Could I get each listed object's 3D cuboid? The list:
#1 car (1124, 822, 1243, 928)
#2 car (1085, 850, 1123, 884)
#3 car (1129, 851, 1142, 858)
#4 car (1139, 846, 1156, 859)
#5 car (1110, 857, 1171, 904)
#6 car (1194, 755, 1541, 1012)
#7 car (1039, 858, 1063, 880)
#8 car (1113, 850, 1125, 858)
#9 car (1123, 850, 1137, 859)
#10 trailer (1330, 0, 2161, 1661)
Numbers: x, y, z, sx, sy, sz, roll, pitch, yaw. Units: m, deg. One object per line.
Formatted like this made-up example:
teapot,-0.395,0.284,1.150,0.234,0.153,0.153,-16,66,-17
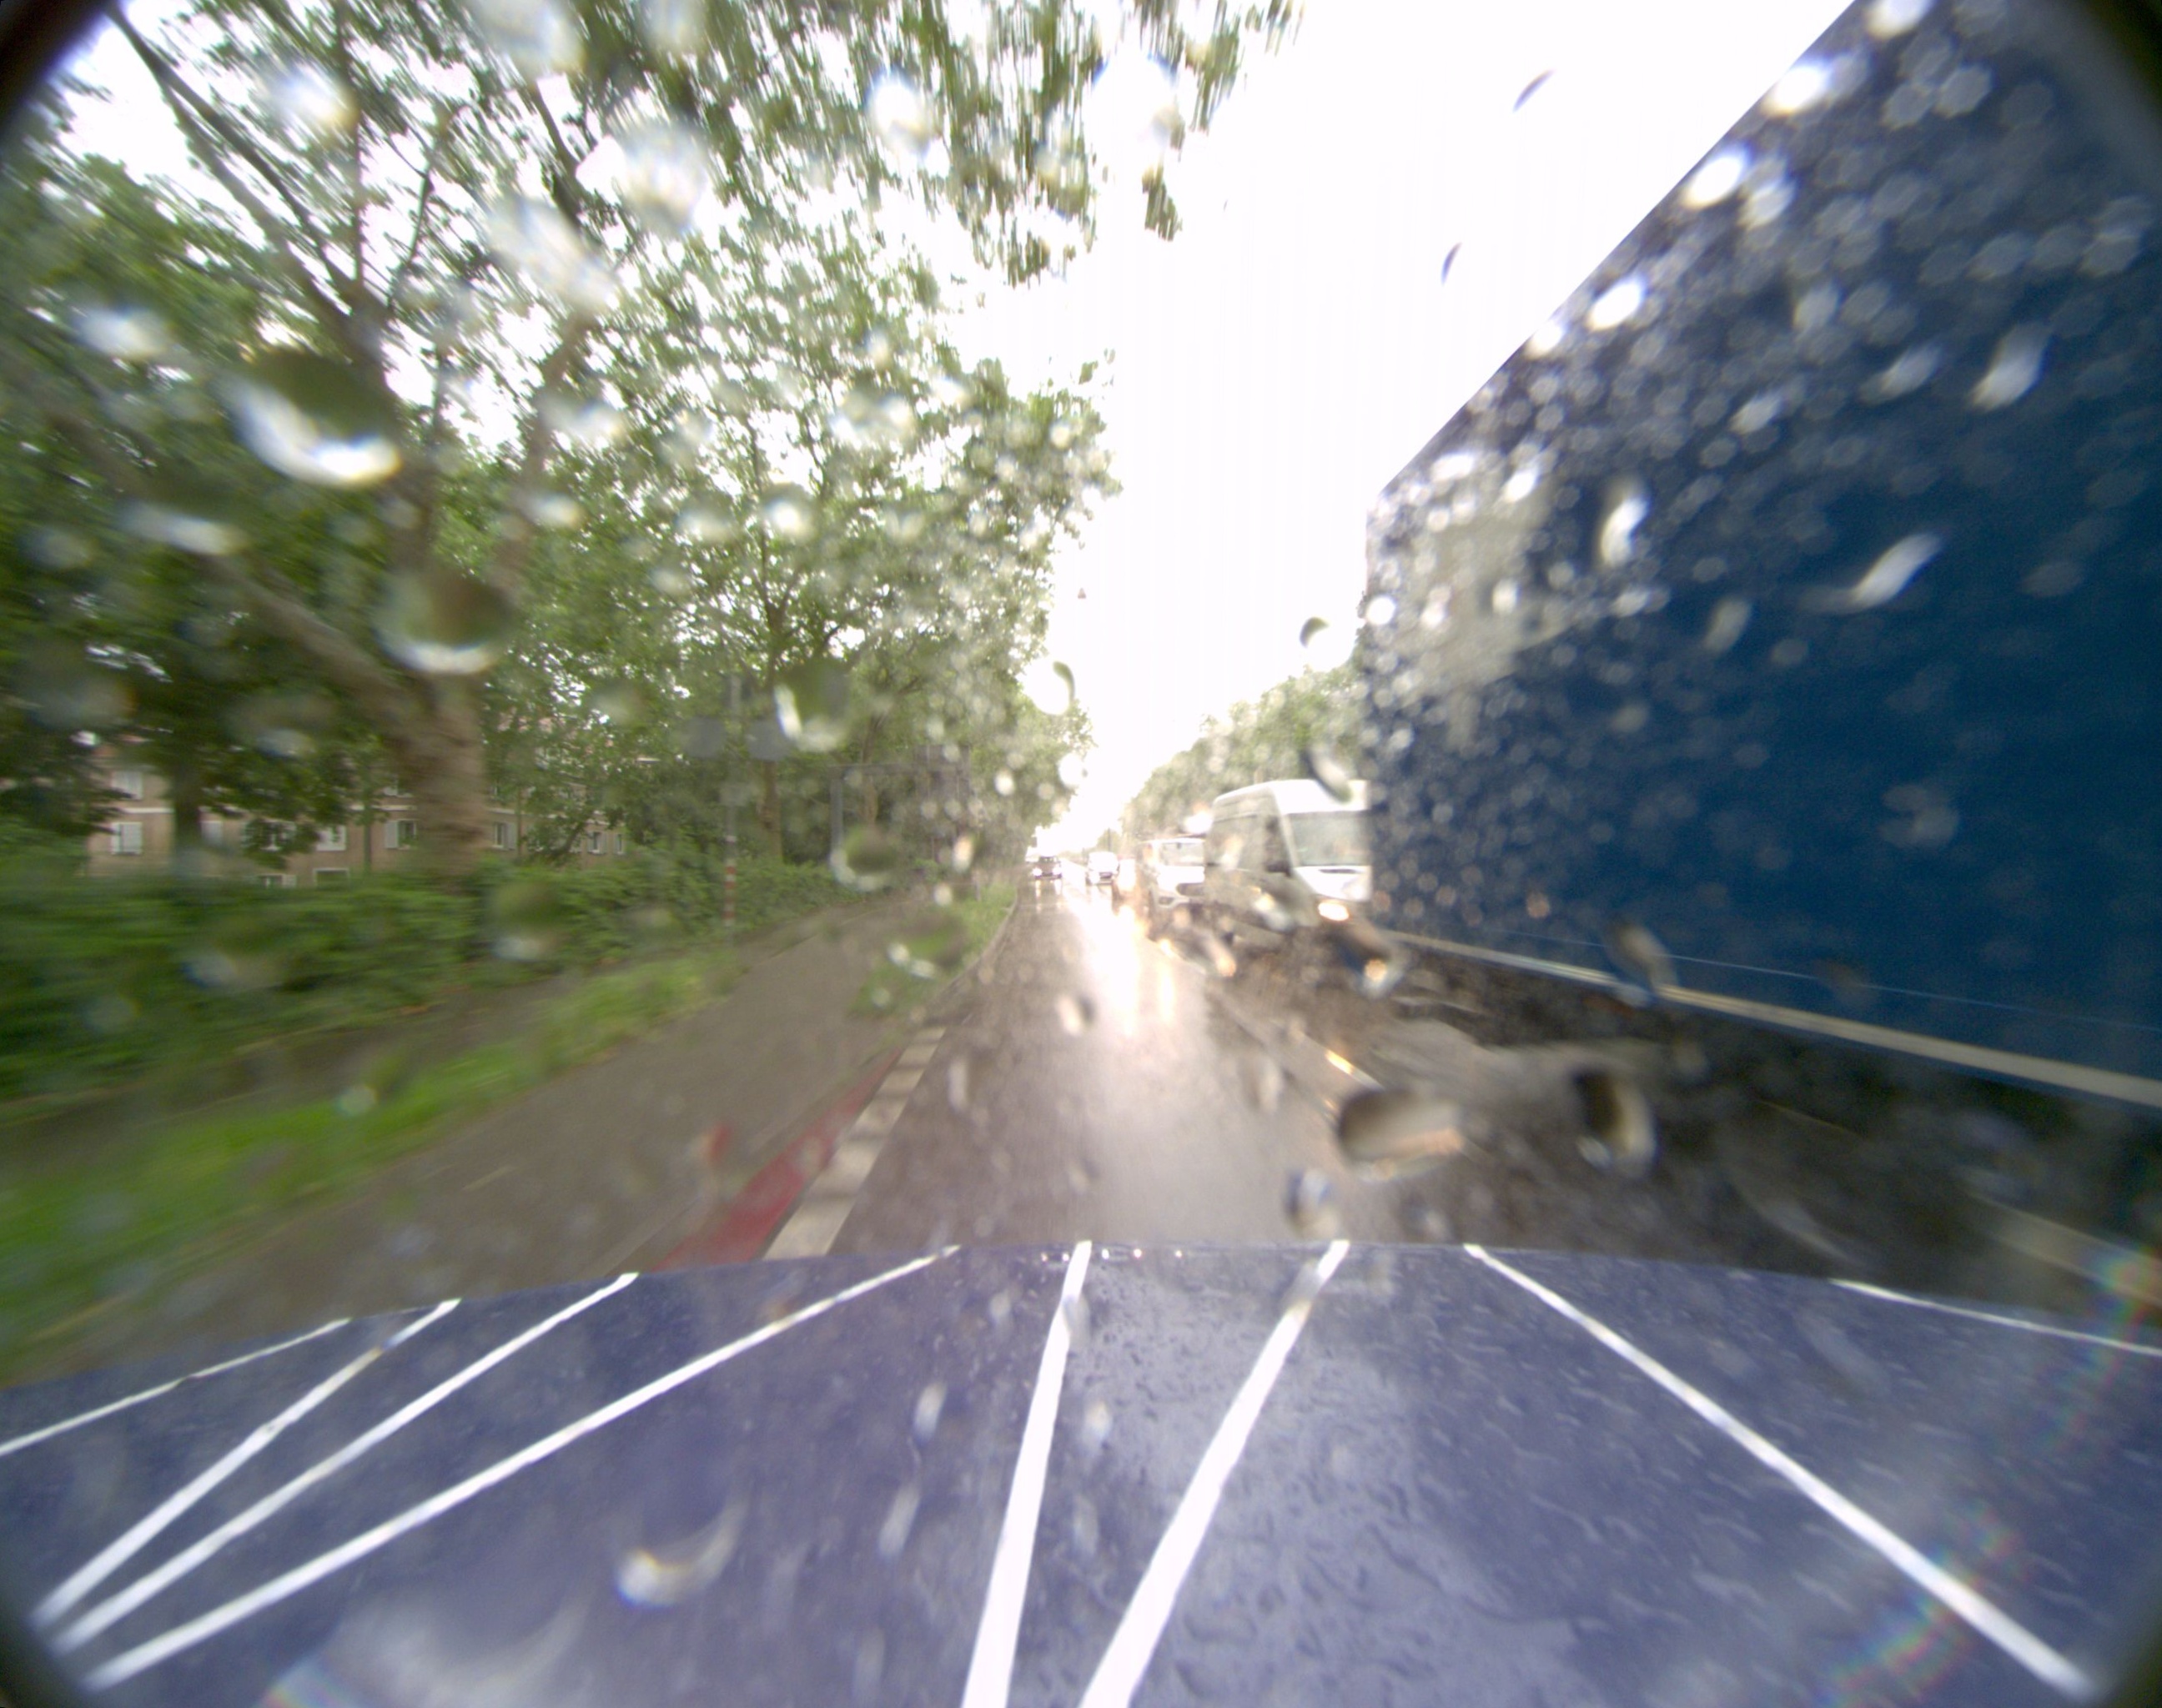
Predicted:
car,2.407,0.412,19.259,1.999,2.249,5.286,-2,1,-3
car,1.212,0.664,41.434,1.869,1.614,4.262,-2,1,-1
car,11.817,0.132,164.633,2.039,1.543,4.382,0,0,-5
car,13.026,-0.279,149.218,2.336,2.432,6.136,0,1,-4
car,2.087,0.908,27.608,1.730,1.470,3.804,-1,1,-2
car,3.409,0.243,10.824,2.336,2.543,6.111,-2,1,-3
car,-2.217,1.088,56.580,1.727,1.425,3.850,-2,1,-2
car,8.170,0.057,164.319,2.020,1.648,4.393,0,0,-5
car,9.428,0.057,147.490,2.038,1.648,4.274,0,1,-6
trailer,3.381,-0.370,1.645,2.598,3.877,7.633,-2,0,-4
